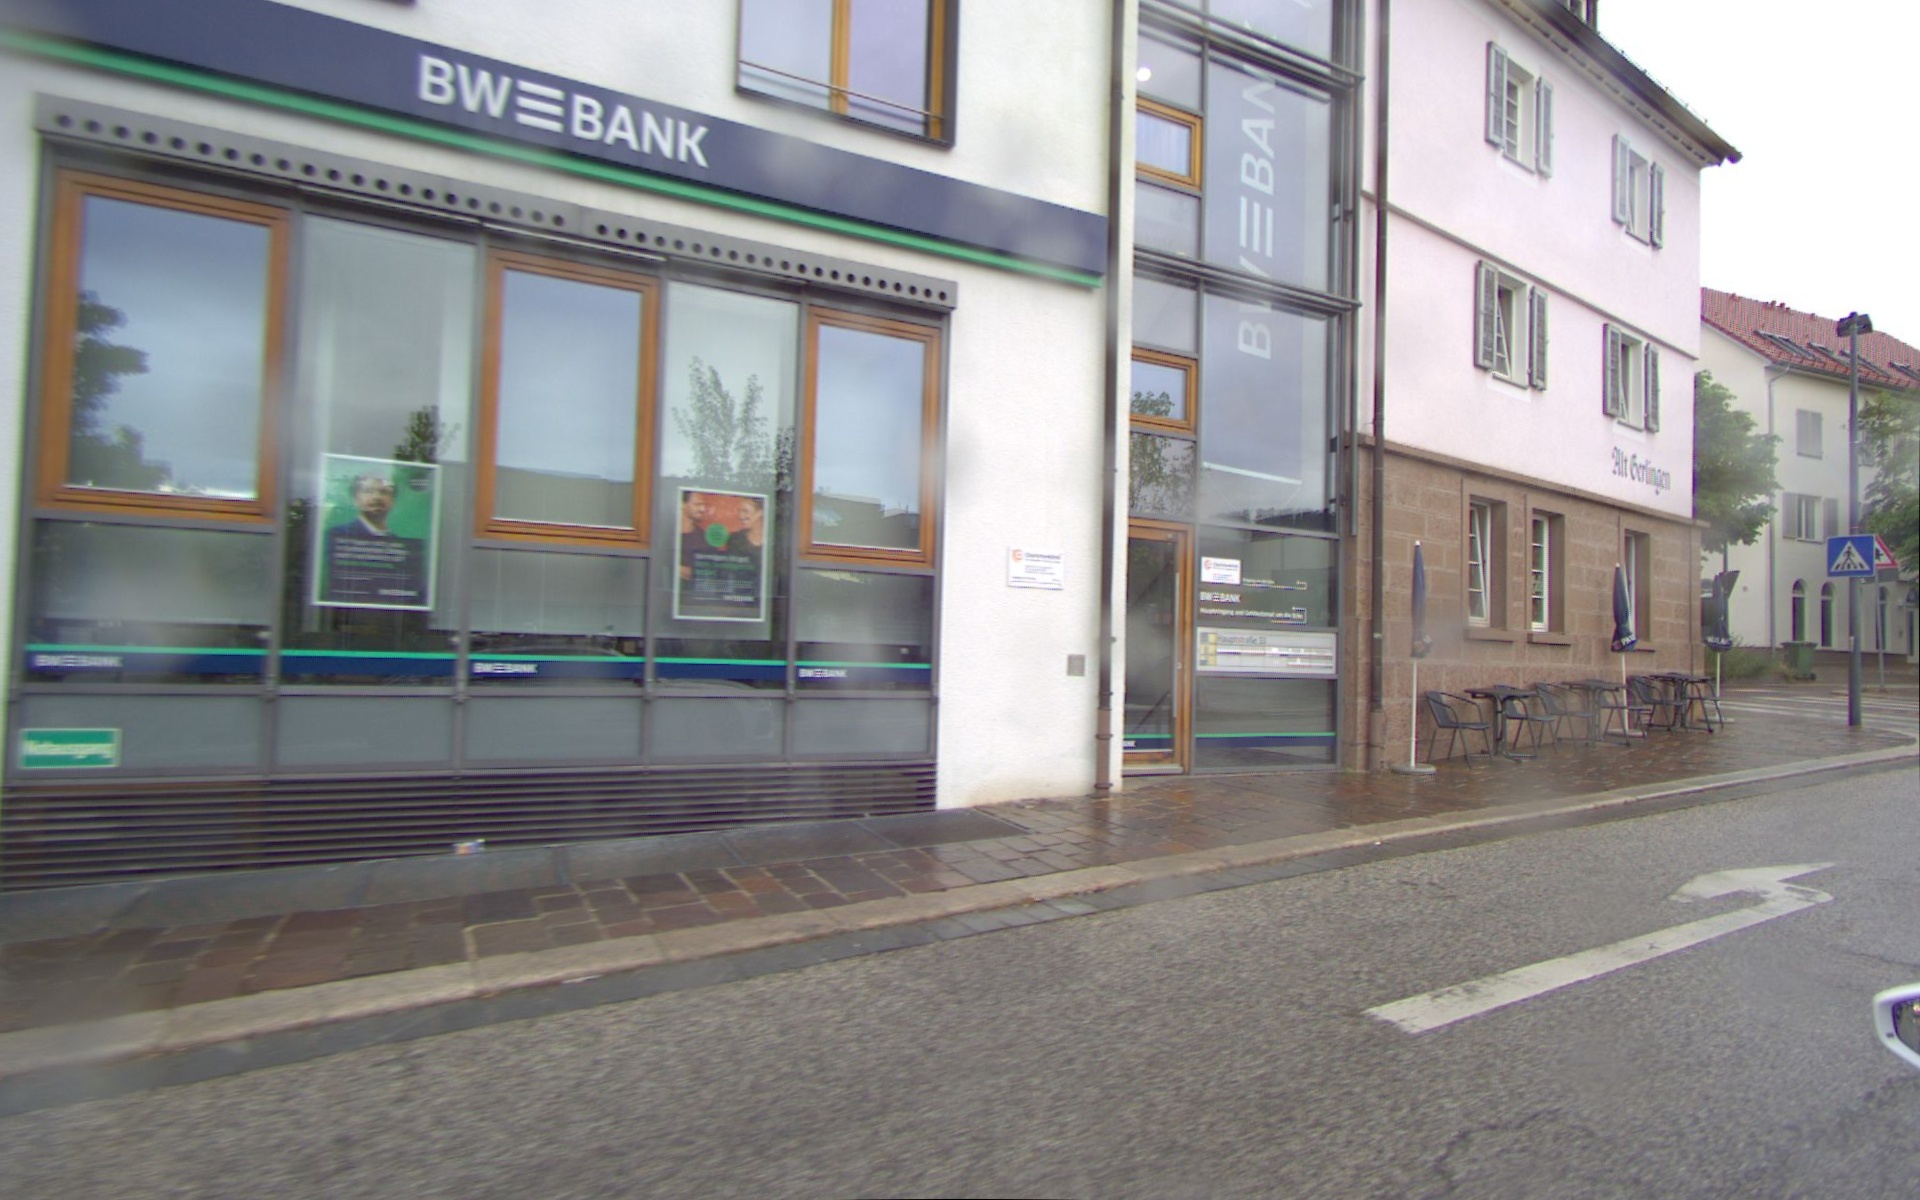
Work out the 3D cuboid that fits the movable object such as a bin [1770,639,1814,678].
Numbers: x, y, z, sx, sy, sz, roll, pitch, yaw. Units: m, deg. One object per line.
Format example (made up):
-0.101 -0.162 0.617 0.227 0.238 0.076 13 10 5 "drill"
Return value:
23.599 1.665 28.499 0.685 1.072 0.635 1 -3 -6 "movable object such as a bin"
